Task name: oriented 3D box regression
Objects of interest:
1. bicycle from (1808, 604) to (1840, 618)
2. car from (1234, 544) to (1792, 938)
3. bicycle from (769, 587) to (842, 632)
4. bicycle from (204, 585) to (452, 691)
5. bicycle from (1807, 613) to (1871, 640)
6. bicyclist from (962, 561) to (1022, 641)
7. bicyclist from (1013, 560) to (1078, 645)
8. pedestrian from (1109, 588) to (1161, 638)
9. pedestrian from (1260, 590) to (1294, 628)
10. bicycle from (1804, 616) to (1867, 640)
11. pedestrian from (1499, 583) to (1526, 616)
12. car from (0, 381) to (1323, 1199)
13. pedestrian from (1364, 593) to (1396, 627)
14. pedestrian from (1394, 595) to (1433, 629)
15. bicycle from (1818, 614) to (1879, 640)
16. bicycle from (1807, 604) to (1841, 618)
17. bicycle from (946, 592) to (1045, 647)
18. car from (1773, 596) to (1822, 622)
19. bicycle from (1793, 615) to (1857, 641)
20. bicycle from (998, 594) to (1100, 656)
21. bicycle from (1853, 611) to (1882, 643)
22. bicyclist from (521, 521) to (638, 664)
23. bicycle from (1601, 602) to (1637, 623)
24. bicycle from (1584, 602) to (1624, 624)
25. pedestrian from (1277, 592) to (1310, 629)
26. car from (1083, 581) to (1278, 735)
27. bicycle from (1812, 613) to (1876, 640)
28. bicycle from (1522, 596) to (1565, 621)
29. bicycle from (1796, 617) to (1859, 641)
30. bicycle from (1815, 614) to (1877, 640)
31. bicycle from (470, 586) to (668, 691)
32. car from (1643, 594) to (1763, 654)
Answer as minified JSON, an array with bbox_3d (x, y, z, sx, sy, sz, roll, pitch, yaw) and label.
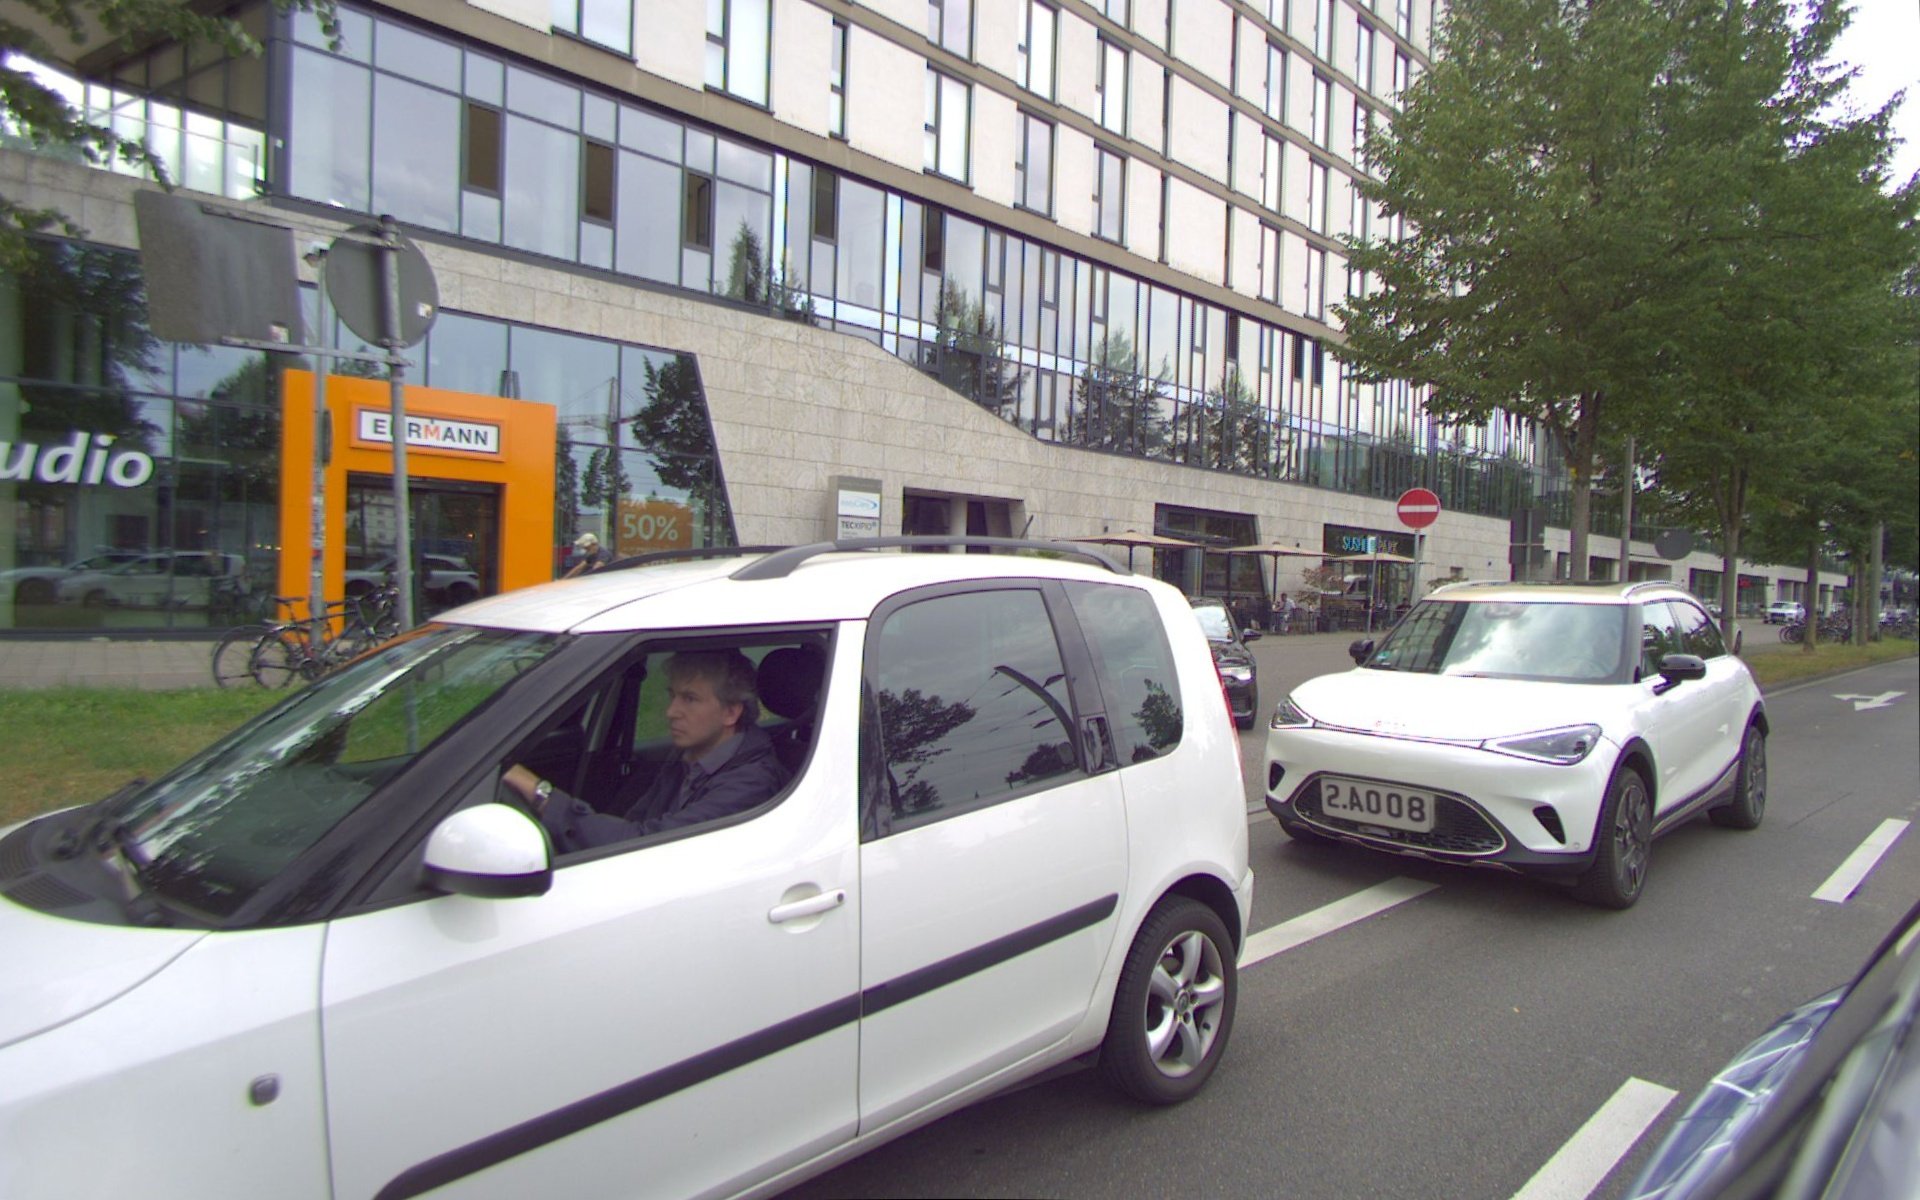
[{"bbox_3d":[82.001,1.029,96.035,2.231,1.191,0.961,3,1,42],"label":"bicycle"},{"bbox_3d":[3.611,0.616,6.298,3.952,1.677,1.782,1,-1,-41],"label":"car"},{"bbox_3d":[-3.270,0.200,21.469,1.467,0.921,0.519,1,1,-41],"label":"bicycle"},{"bbox_3d":[-6.439,0.355,10.409,0.630,0.968,2.074,2,1,44],"label":"bicycle"},{"bbox_3d":[36.364,1.109,41.897,0.693,1.079,1.931,1,-2,-43],"label":"bicycle"},{"bbox_3d":[0.664,0.022,21.106,0.970,1.601,0.728,1,2,-29],"label":"bicyclist"},{"bbox_3d":[1.686,0.039,19.882,0.970,1.601,0.728,1,3,-32],"label":"bicyclist"},{"bbox_3d":[4.510,0.323,26.141,0.932,1.243,0.901,1,1,-36],"label":"pedestrian"},{"bbox_3d":[10.219,0.291,32.606,0.745,1.207,0.720,1,1,-41],"label":"pedestrian"},{"bbox_3d":[35.845,1.162,41.456,0.602,0.963,1.862,1,-2,-43],"label":"bicycle"},{"bbox_3d":[24.347,-0.015,44.624,0.707,1.424,0.759,1,1,-33],"label":"pedestrian"},{"bbox_3d":[-0.914,0.547,2.678,3.952,1.677,1.782,1,1,-41],"label":"car"},{"bbox_3d":[15.266,0.365,36.811,0.743,1.207,0.723,1,1,-19],"label":"pedestrian"},{"bbox_3d":[16.658,0.440,37.178,1.083,1.207,0.776,1,1,-26],"label":"pedestrian"},{"bbox_3d":[37.917,1.141,43.209,1.927,1.079,0.535,-2,-2,41],"label":"bicycle"},{"bbox_3d":[82.774,1.027,96.987,2.417,1.191,1.185,3,1,42],"label":"bicycle"},{"bbox_3d":[0.749,0.416,21.188,1.966,1.054,0.677,2,3,-29],"label":"bicycle"},{"bbox_3d":[57.785,0.637,69.799,4.165,1.607,1.862,1,4,-41],"label":"car"},{"bbox_3d":[34.243,1.092,40.071,0.564,1.008,1.862,1,-2,-43],"label":"bicycle"},{"bbox_3d":[1.768,0.488,19.979,1.968,1.157,0.676,1,1,-33],"label":"bicycle"},{"bbox_3d":[33.236,0.969,37.080,0.709,1.130,2.170,-2,-2,41],"label":"bicycle"},{"bbox_3d":[-5.008,-0.115,13.321,1.110,1.758,0.999,1,4,-42],"label":"bicyclist"},{"bbox_3d":[35.228,0.647,54.103,0.524,1.039,1.531,1,1,-43],"label":"bicycle"},{"bbox_3d":[32.720,0.643,51.440,0.524,1.039,1.599,1,2,-43],"label":"bicycle"},{"bbox_3d":[10.945,0.341,33.231,0.745,1.207,0.720,1,1,-39],"label":"pedestrian"},{"bbox_3d":[2.824,0.540,12.751,1.919,1.494,4.850,2,1,14],"label":"car"},{"bbox_3d":[36.972,1.108,42.333,0.631,1.079,1.931,1,-2,-43],"label":"bicycle"},{"bbox_3d":[27.031,0.393,46.913,1.585,1.039,0.606,3,2,23],"label":"bicycle"},{"bbox_3d":[34.718,1.164,40.521,0.493,0.963,1.862,1,-2,-43],"label":"bicycle"},{"bbox_3d":[37.482,1.140,42.841,1.927,1.079,0.535,-2,-2,41],"label":"bicycle"},{"bbox_3d":[-5.076,0.469,13.249,2.229,1.250,0.903,1,1,-42],"label":"bicycle"},{"bbox_3d":[21.904,0.665,29.766,4.514,1.571,1.941,1,1,-42],"label":"car"}]
